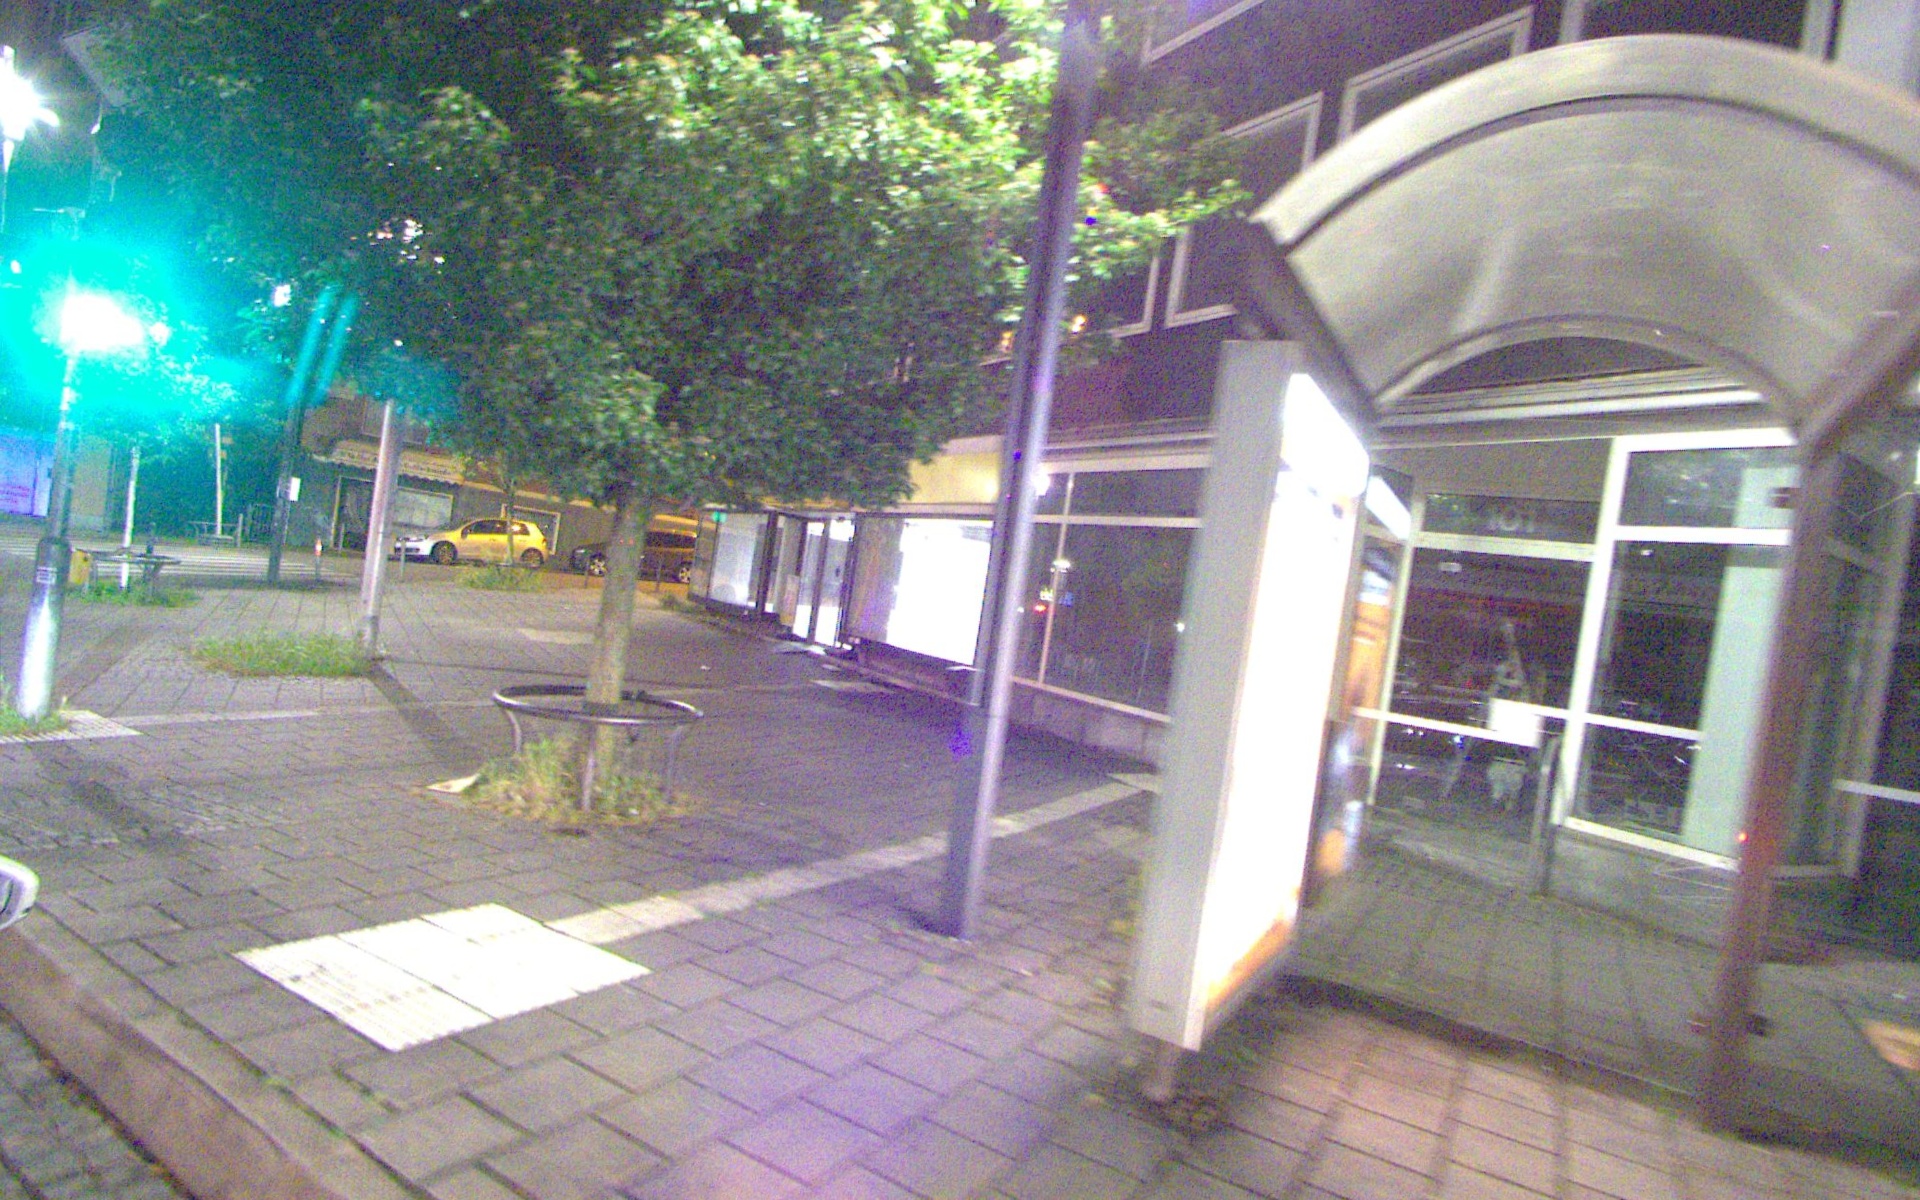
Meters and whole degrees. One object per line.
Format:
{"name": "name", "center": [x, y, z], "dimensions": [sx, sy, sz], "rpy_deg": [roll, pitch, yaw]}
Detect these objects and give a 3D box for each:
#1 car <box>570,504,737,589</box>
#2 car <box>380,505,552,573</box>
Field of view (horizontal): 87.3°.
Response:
{"name": "car", "center": [-9.840, -1.637, 32.277], "dimensions": [4.783, 1.932, 2.148], "rpy_deg": [7, -2, -23]}
{"name": "car", "center": [-14.200, -1.730, 29.105], "dimensions": [1.798, 1.472, 4.036], "rpy_deg": [8, 2, 38]}
